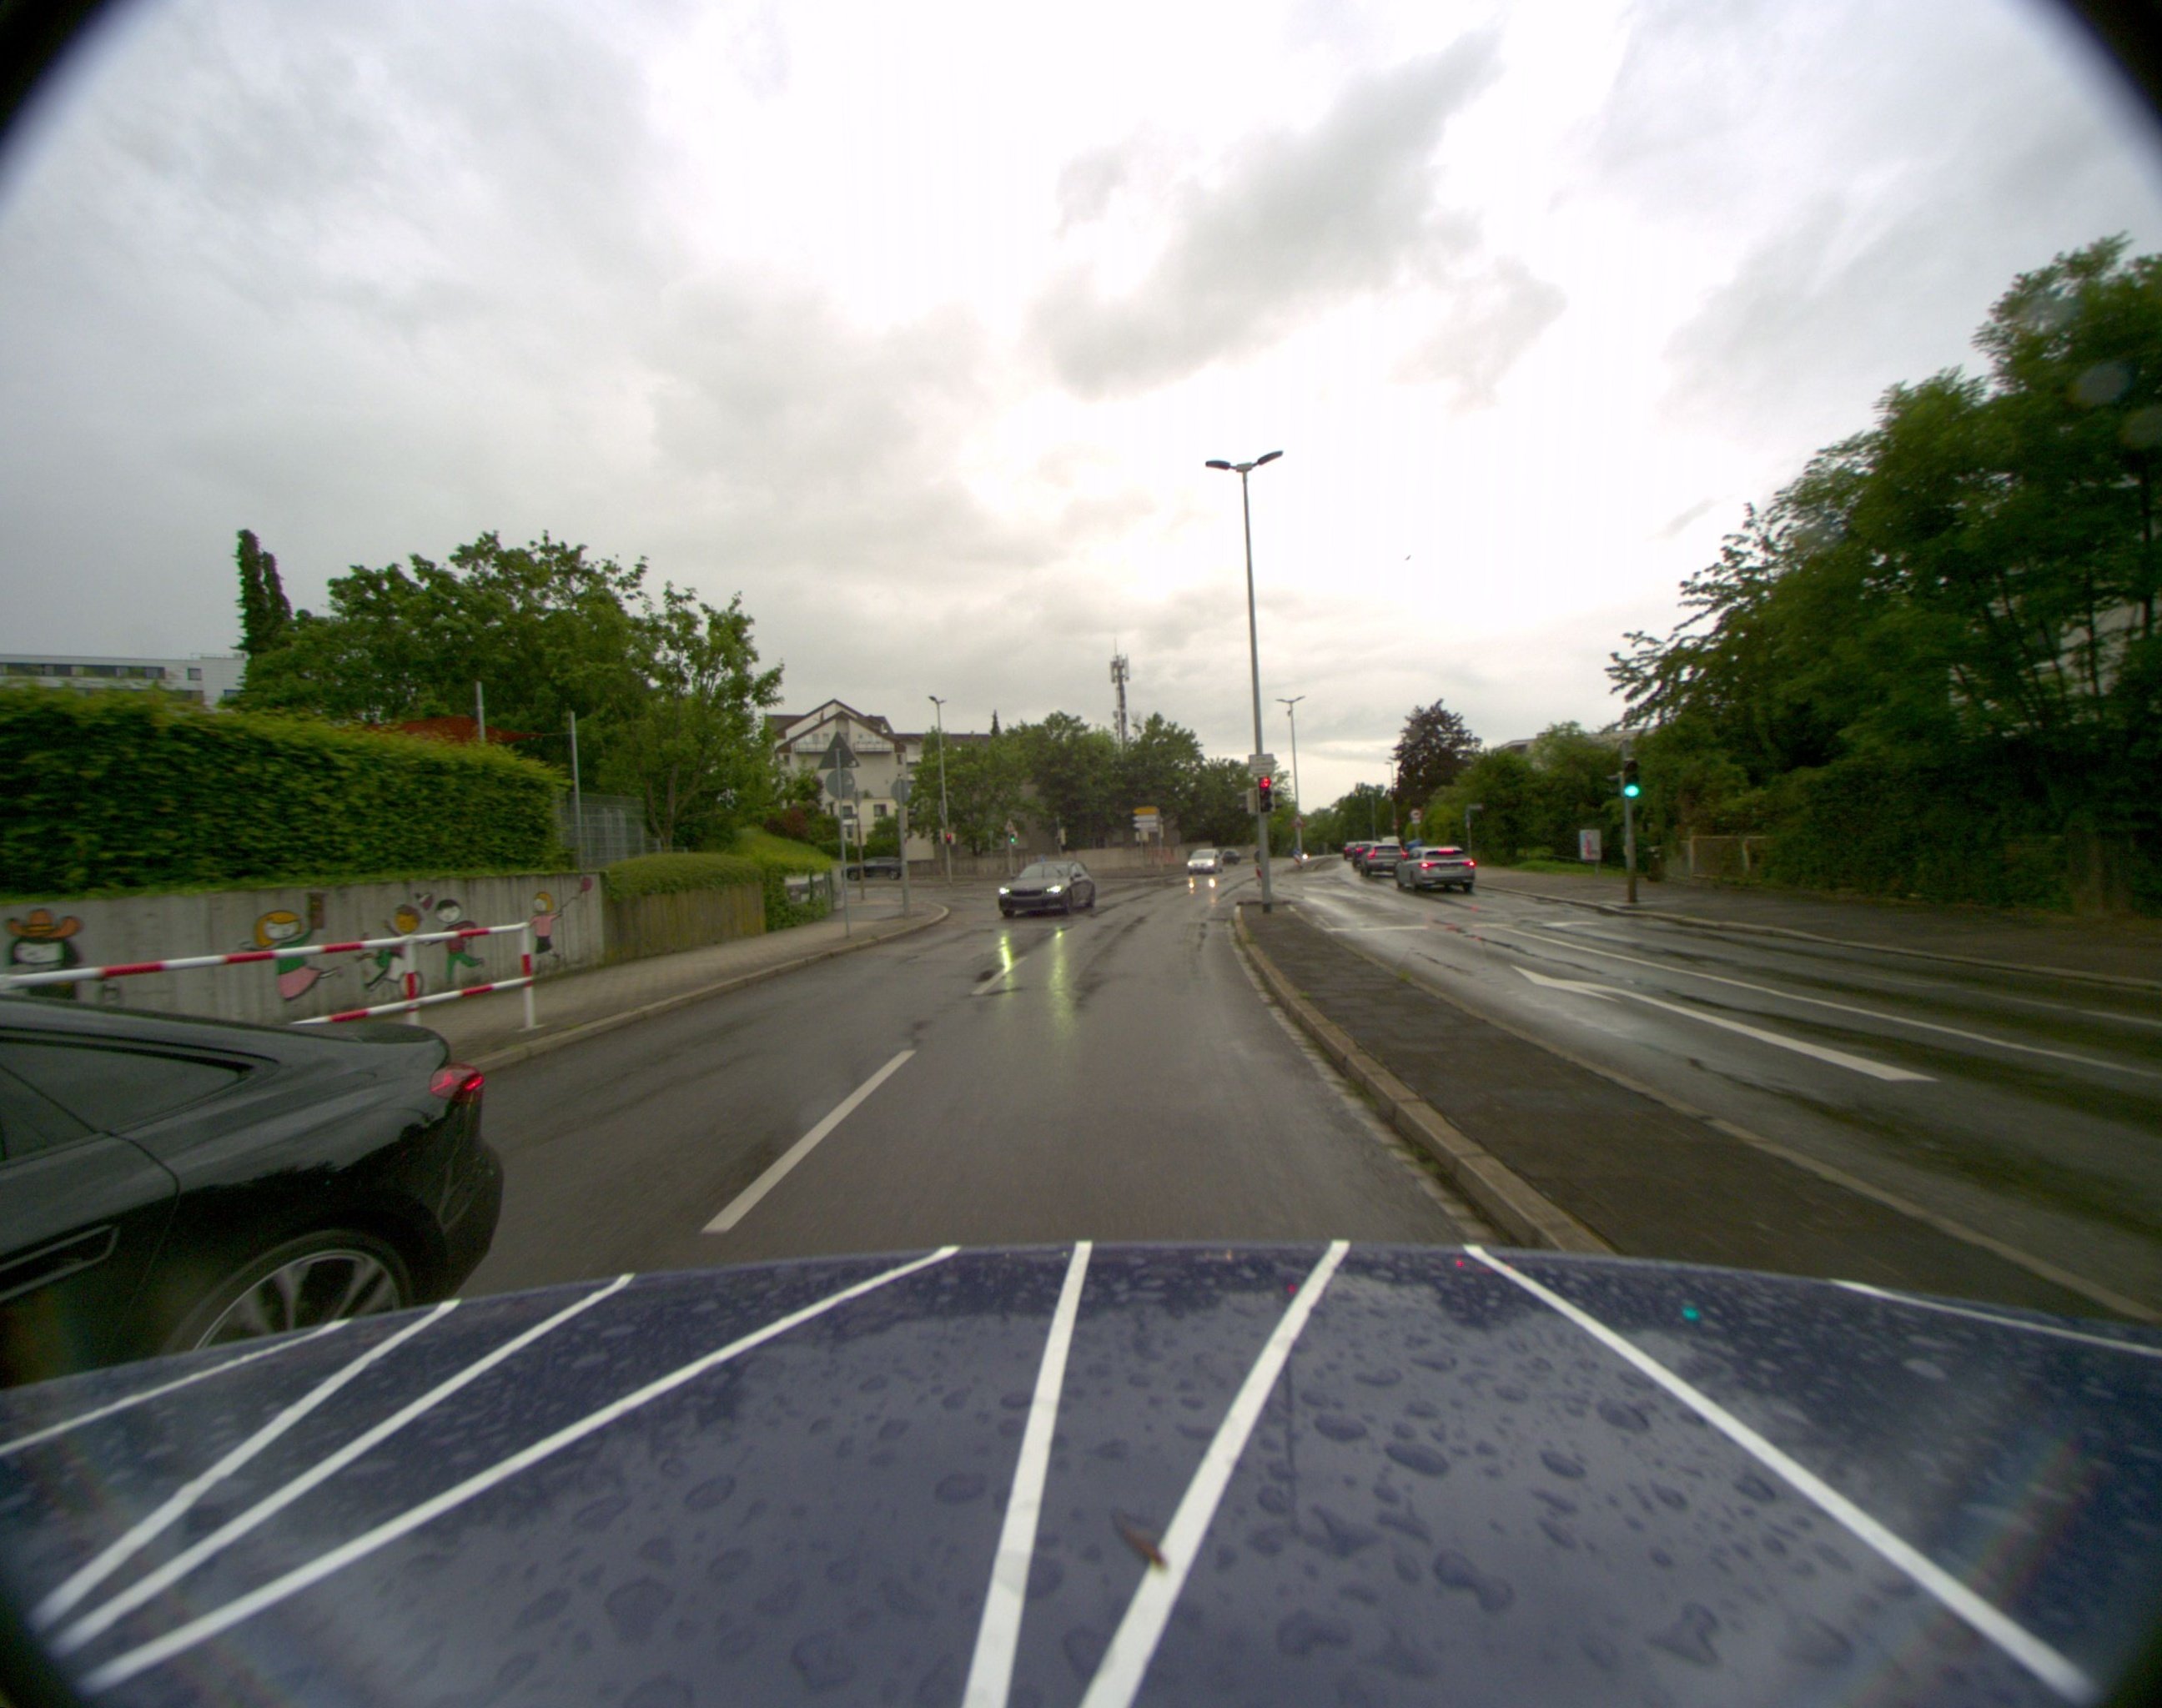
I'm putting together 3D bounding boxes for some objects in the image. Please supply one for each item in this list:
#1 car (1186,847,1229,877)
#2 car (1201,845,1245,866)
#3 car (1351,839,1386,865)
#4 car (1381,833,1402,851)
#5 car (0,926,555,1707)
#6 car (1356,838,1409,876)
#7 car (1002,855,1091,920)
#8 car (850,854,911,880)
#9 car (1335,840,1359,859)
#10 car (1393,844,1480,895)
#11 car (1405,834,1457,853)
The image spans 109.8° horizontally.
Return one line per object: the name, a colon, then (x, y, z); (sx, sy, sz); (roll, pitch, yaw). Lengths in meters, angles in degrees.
car: (8.130, 0.488, 48.656); (1.996, 1.647, 4.004); (-2, 2, 20)
car: (12.704, 0.119, 67.924); (1.994, 1.647, 4.234); (-1, 2, 40)
car: (18.327, -0.155, 48.578); (1.867, 1.545, 4.451); (-1, 2, 18)
car: (31.494, -1.233, 77.128); (1.818, 1.707, 4.004); (-2, 2, 20)
car: (-2.840, 1.052, 0.276); (1.871, 1.416, 4.738); (-3, 1, 1)
car: (14.852, 0.104, 37.595); (1.885, 1.668, 4.235); (-2, 1, 14)
car: (-0.896, 0.889, 22.022); (1.871, 1.510, 4.001); (-2, 1, 7)
car: (-14.070, 0.905, 53.586); (4.000, 1.543, 1.692); (-3, 2, -11)
car: (22.354, -0.395, 63.805); (1.866, 1.468, 4.452); (0, 2, 20)
car: (12.018, 0.458, 26.008); (1.678, 1.441, 4.692); (-2, 1, 12)
car: (30.319, -0.907, 65.875); (3.883, 1.448, 1.770); (-2, 2, 18)
